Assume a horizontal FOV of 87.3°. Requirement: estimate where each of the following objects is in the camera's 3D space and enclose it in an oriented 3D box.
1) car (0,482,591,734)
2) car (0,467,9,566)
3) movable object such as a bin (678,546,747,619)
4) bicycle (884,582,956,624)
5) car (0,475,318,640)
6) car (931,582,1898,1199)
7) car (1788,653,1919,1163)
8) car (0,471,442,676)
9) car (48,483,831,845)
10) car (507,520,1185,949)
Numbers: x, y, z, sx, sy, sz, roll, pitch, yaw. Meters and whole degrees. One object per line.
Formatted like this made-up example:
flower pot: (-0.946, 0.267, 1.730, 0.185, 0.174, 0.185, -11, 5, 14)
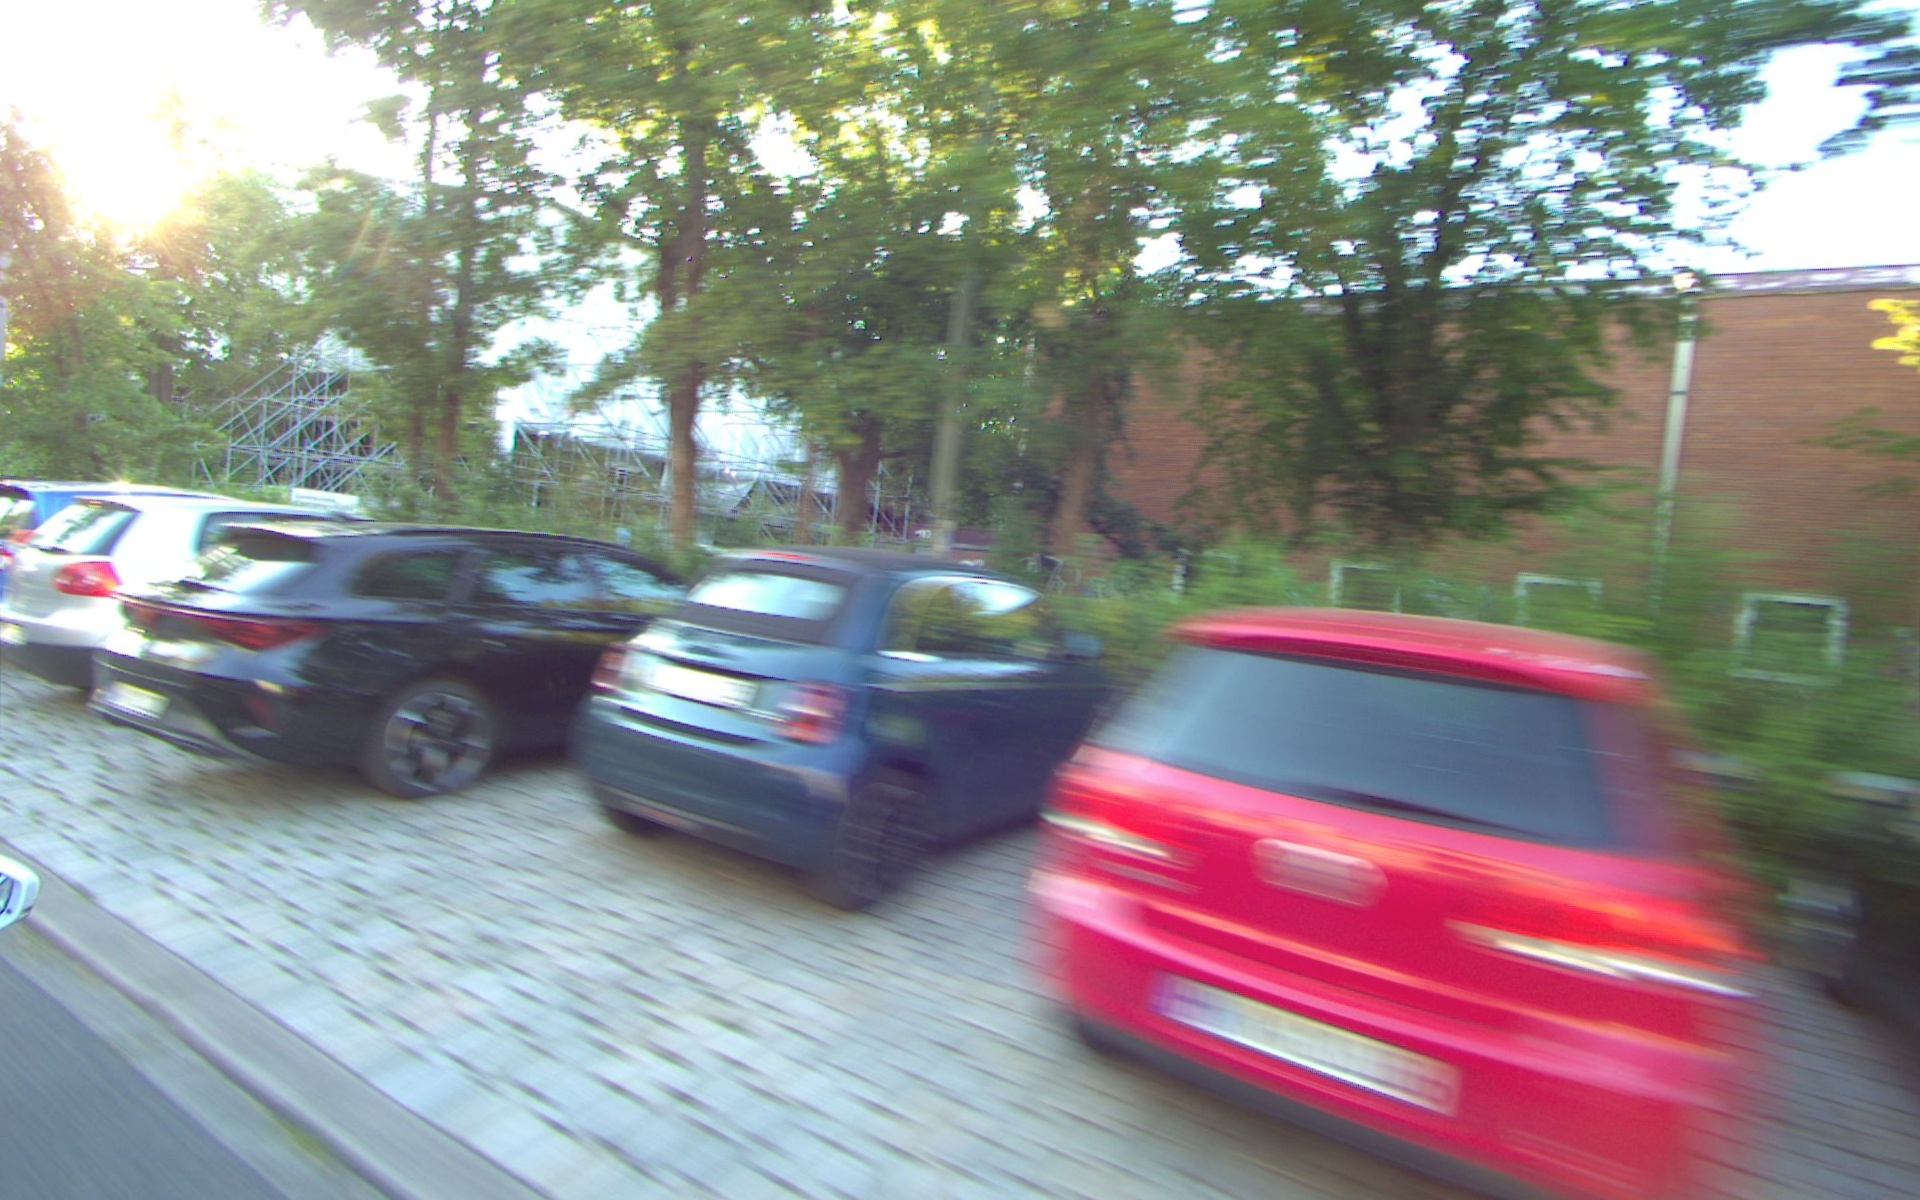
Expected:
car: (-5.244, -0.009, 8.109, 1.802, 1.474, 3.922, 7, 3, 32)
car: (-16.485, -1.444, 14.419, 1.668, 1.614, 3.751, 7, 0, 29)
movable object such as a bin: (-5.437, -0.382, 22.081, 0.968, 1.458, 0.961, 7, 2, 34)
bicycle: (-1.331, 0.088, 33.339, 2.348, 1.153, 0.647, 7, 2, 33)
car: (-9.359, -0.468, 10.324, 1.713, 1.496, 4.335, 8, 4, 32)
car: (1.695, 0.767, 3.724, 1.727, 1.495, 3.805, 6, 4, 31)
car: (3.762, 1.034, 2.709, 1.727, 1.415, 3.746, 6, 4, 31)
car: (-7.276, -0.285, 9.689, 1.711, 1.577, 3.713, 6, 3, 27)
car: (-2.899, 0.238, 6.504, 1.802, 1.495, 4.118, 7, 3, 32)
car: (-0.297, 0.458, 5.771, 1.802, 1.495, 3.804, 7, 4, 32)
